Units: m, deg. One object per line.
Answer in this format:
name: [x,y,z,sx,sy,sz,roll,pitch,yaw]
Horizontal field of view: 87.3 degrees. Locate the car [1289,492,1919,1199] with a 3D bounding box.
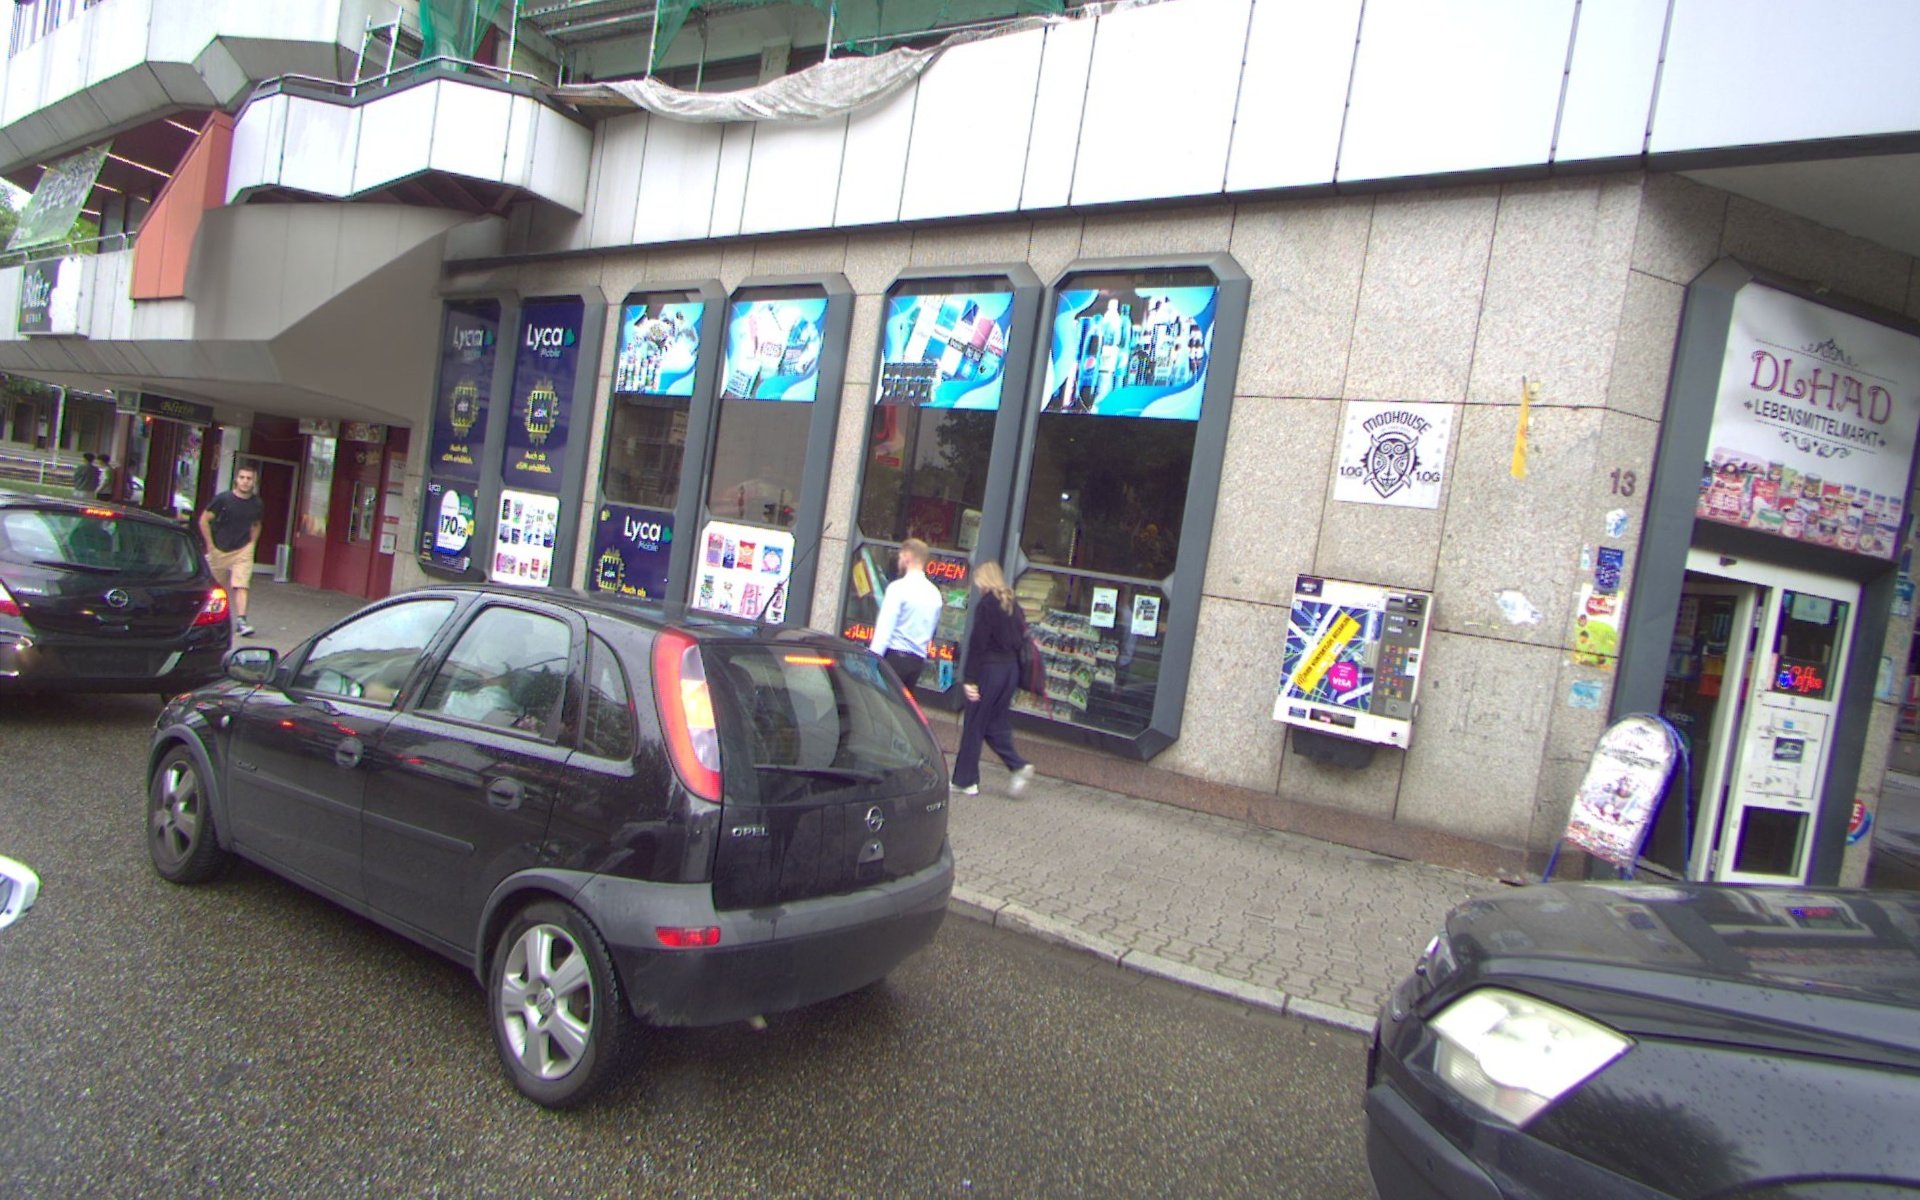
car: [2.804,1.009,1.439,4.095,1.786,1.763,8,-1,32]

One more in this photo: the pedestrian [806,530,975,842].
pedestrian: [-0.459,0.564,6.839,0.629,1.957,0.737,6,-1,31]

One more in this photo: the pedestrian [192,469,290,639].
pedestrian: [-8.163,-0.512,11.414,0.763,1.841,0.739,7,4,43]

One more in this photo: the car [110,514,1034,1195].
car: [-1.721,0.618,4.108,3.563,1.446,1.609,8,-1,33]

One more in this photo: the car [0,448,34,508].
car: [-26.634,-3.462,25.743,1.593,1.503,3.911,6,-2,19]

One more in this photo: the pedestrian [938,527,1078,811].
pedestrian: [0.360,0.482,7.475,0.629,1.961,0.736,6,4,31]

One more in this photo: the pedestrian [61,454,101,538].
pedestrian: [-18.665,-2.205,21.359,0.443,1.704,0.426,6,1,30]

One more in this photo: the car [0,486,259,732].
car: [-7.086,-0.107,7.339,3.776,1.446,1.620,8,-1,29]

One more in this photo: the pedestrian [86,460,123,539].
pedestrian: [-18.722,-2.205,22.006,0.496,1.660,0.396,6,1,32]
